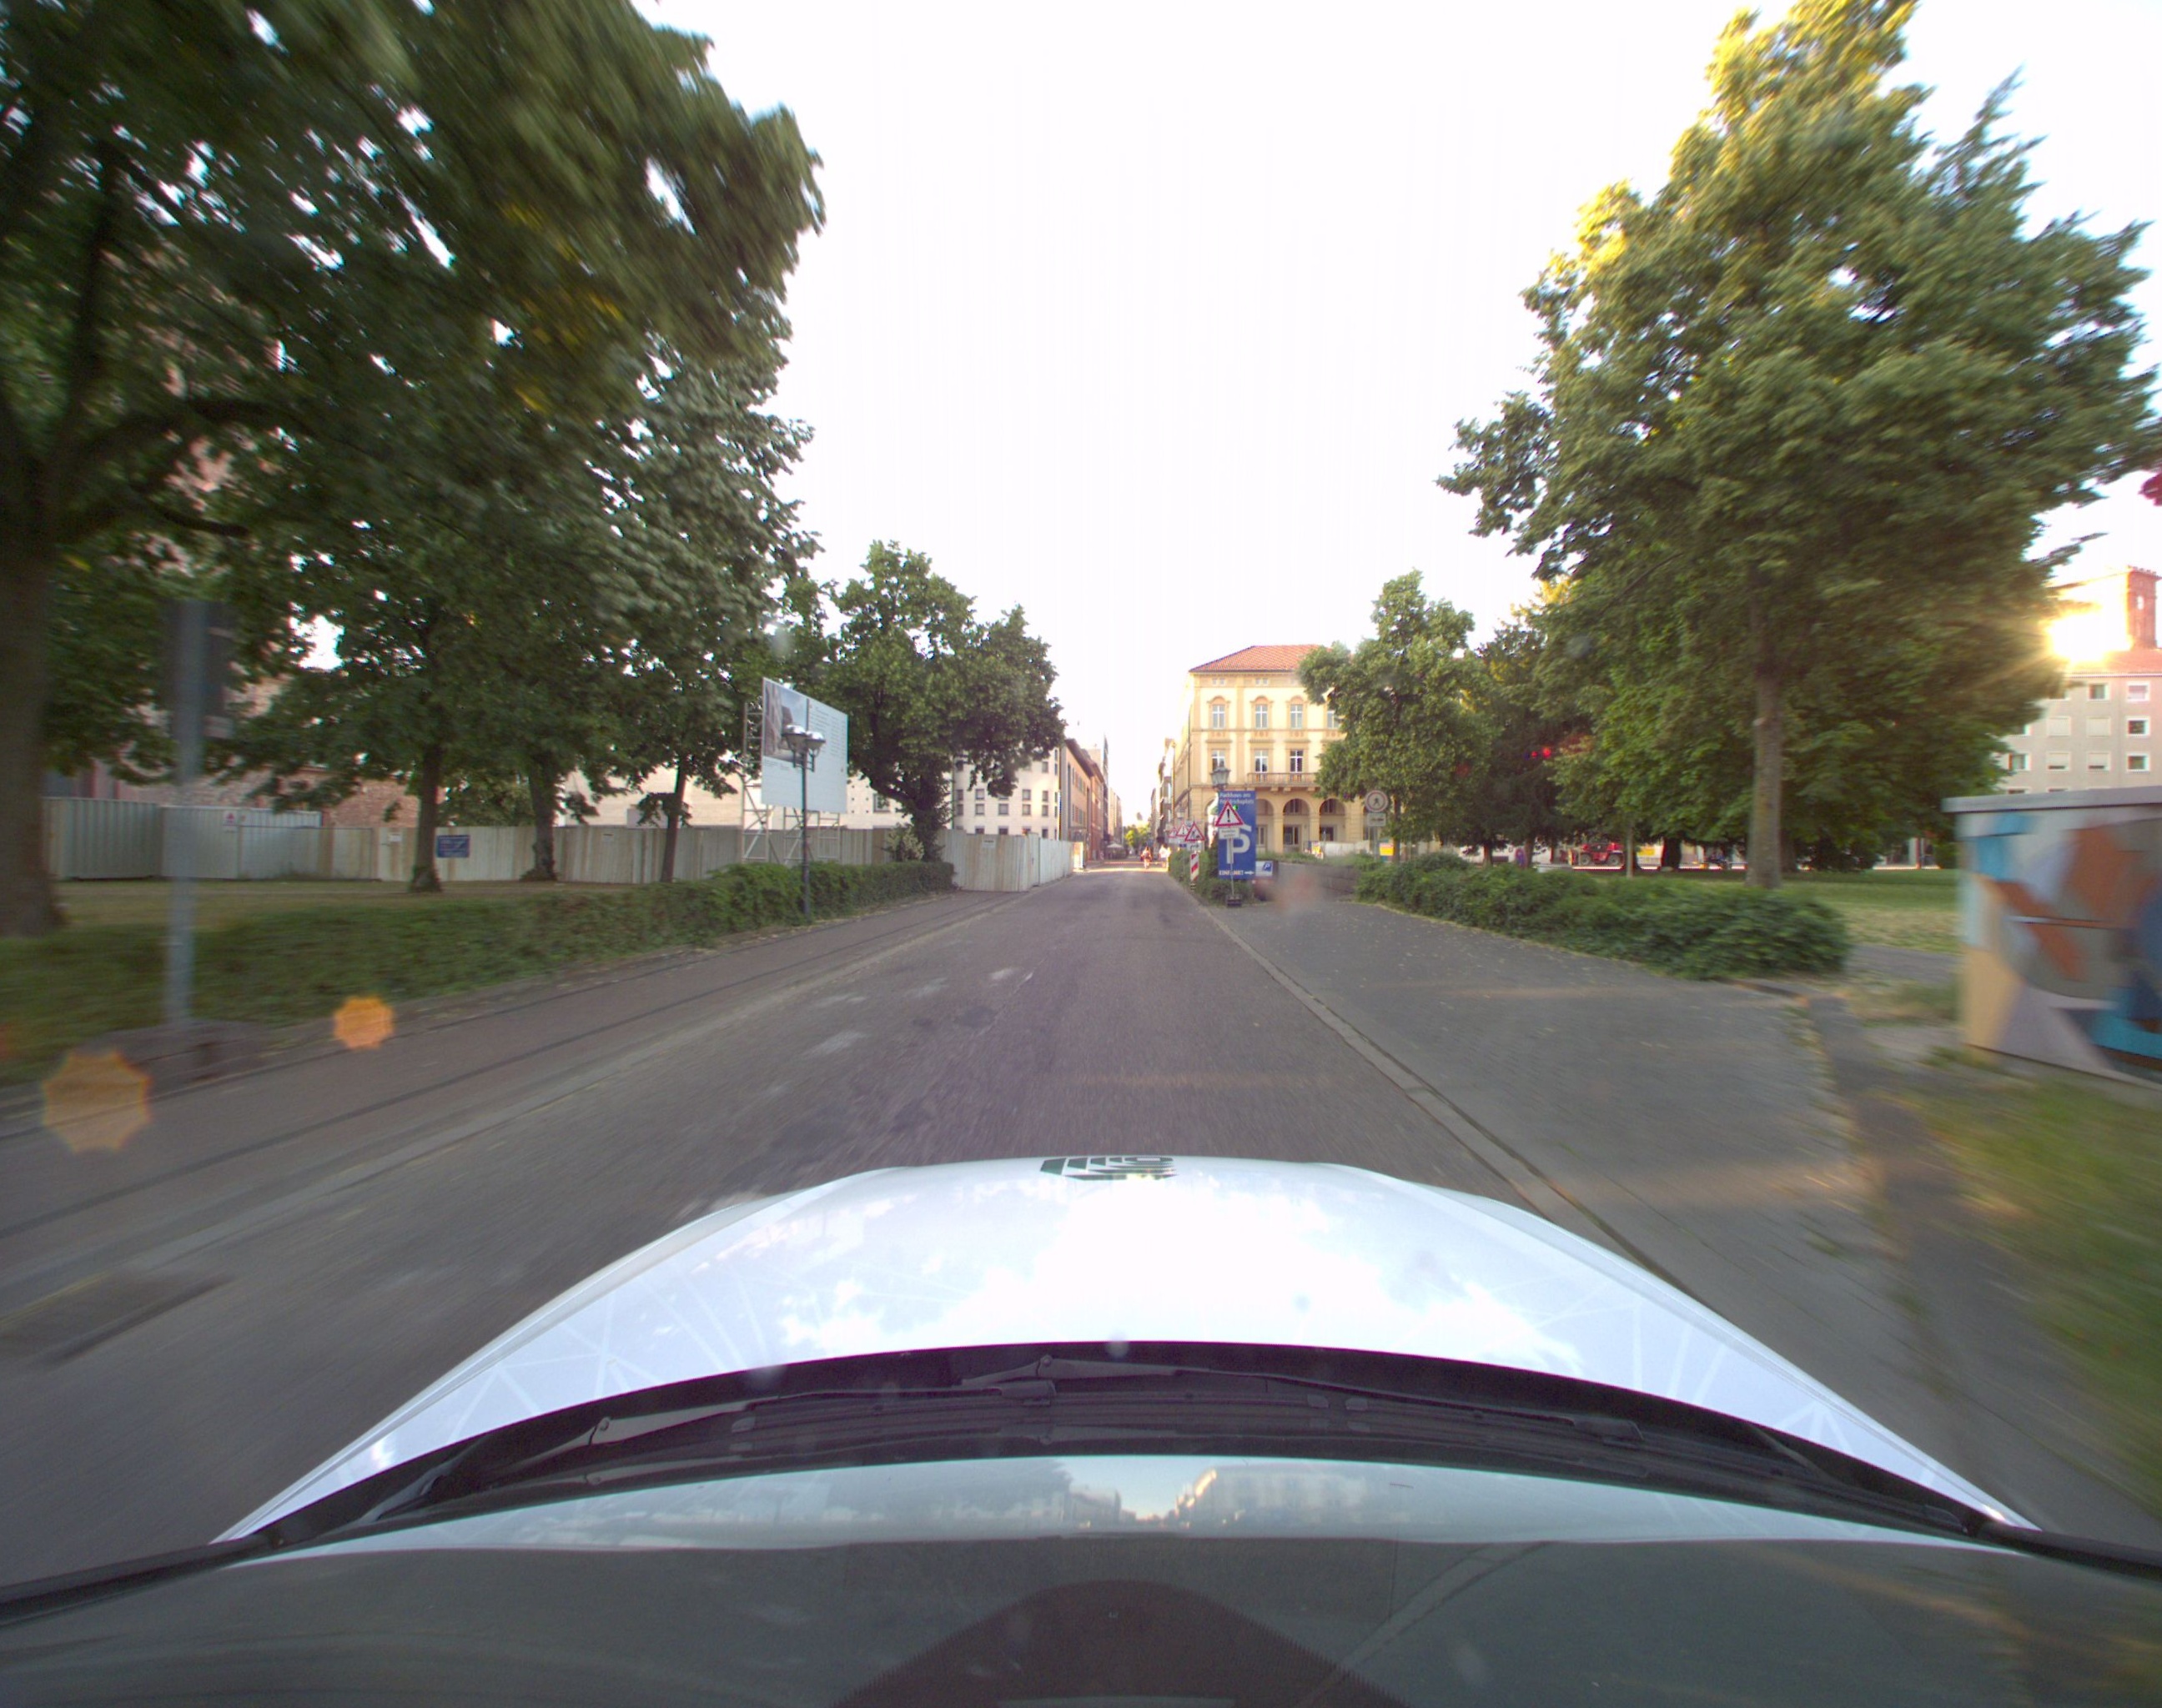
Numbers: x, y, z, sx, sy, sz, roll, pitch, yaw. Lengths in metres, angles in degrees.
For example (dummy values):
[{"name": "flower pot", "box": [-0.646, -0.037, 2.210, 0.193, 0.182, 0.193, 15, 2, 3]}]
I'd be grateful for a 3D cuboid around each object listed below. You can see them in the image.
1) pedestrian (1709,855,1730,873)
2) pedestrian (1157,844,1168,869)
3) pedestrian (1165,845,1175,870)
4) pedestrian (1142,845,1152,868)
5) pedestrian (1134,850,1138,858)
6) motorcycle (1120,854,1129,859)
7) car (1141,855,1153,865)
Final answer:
[{"name": "pedestrian", "box": [43.482, 0.663, 55.429, 0.705, 1.252, 0.926, 0, 0, -1]}, {"name": "pedestrian", "box": [6.234, 0.220, 62.155, 0.808, 1.875, 0.876, -1, -1, 3]}, {"name": "pedestrian", "box": [6.633, 0.260, 60.699, 0.634, 1.803, 0.772, -1, -1, 3]}, {"name": "pedestrian", "box": [5.039, 0.219, 62.095, 0.772, 1.746, 0.876, -1, -1, 3]}, {"name": "pedestrian", "box": [12.336, 0.036, 182.042, 0.800, 1.672, 0.890, 0, 0, 6]}, {"name": "motorcycle", "box": [8.820, 0.538, 164.580, 1.796, 0.875, 0.560, 0, 0, -1]}, {"name": "car", "box": [10.093, 0.966, 124.624, 1.642, 1.427, 3.540, 3, 0, 4]}]
